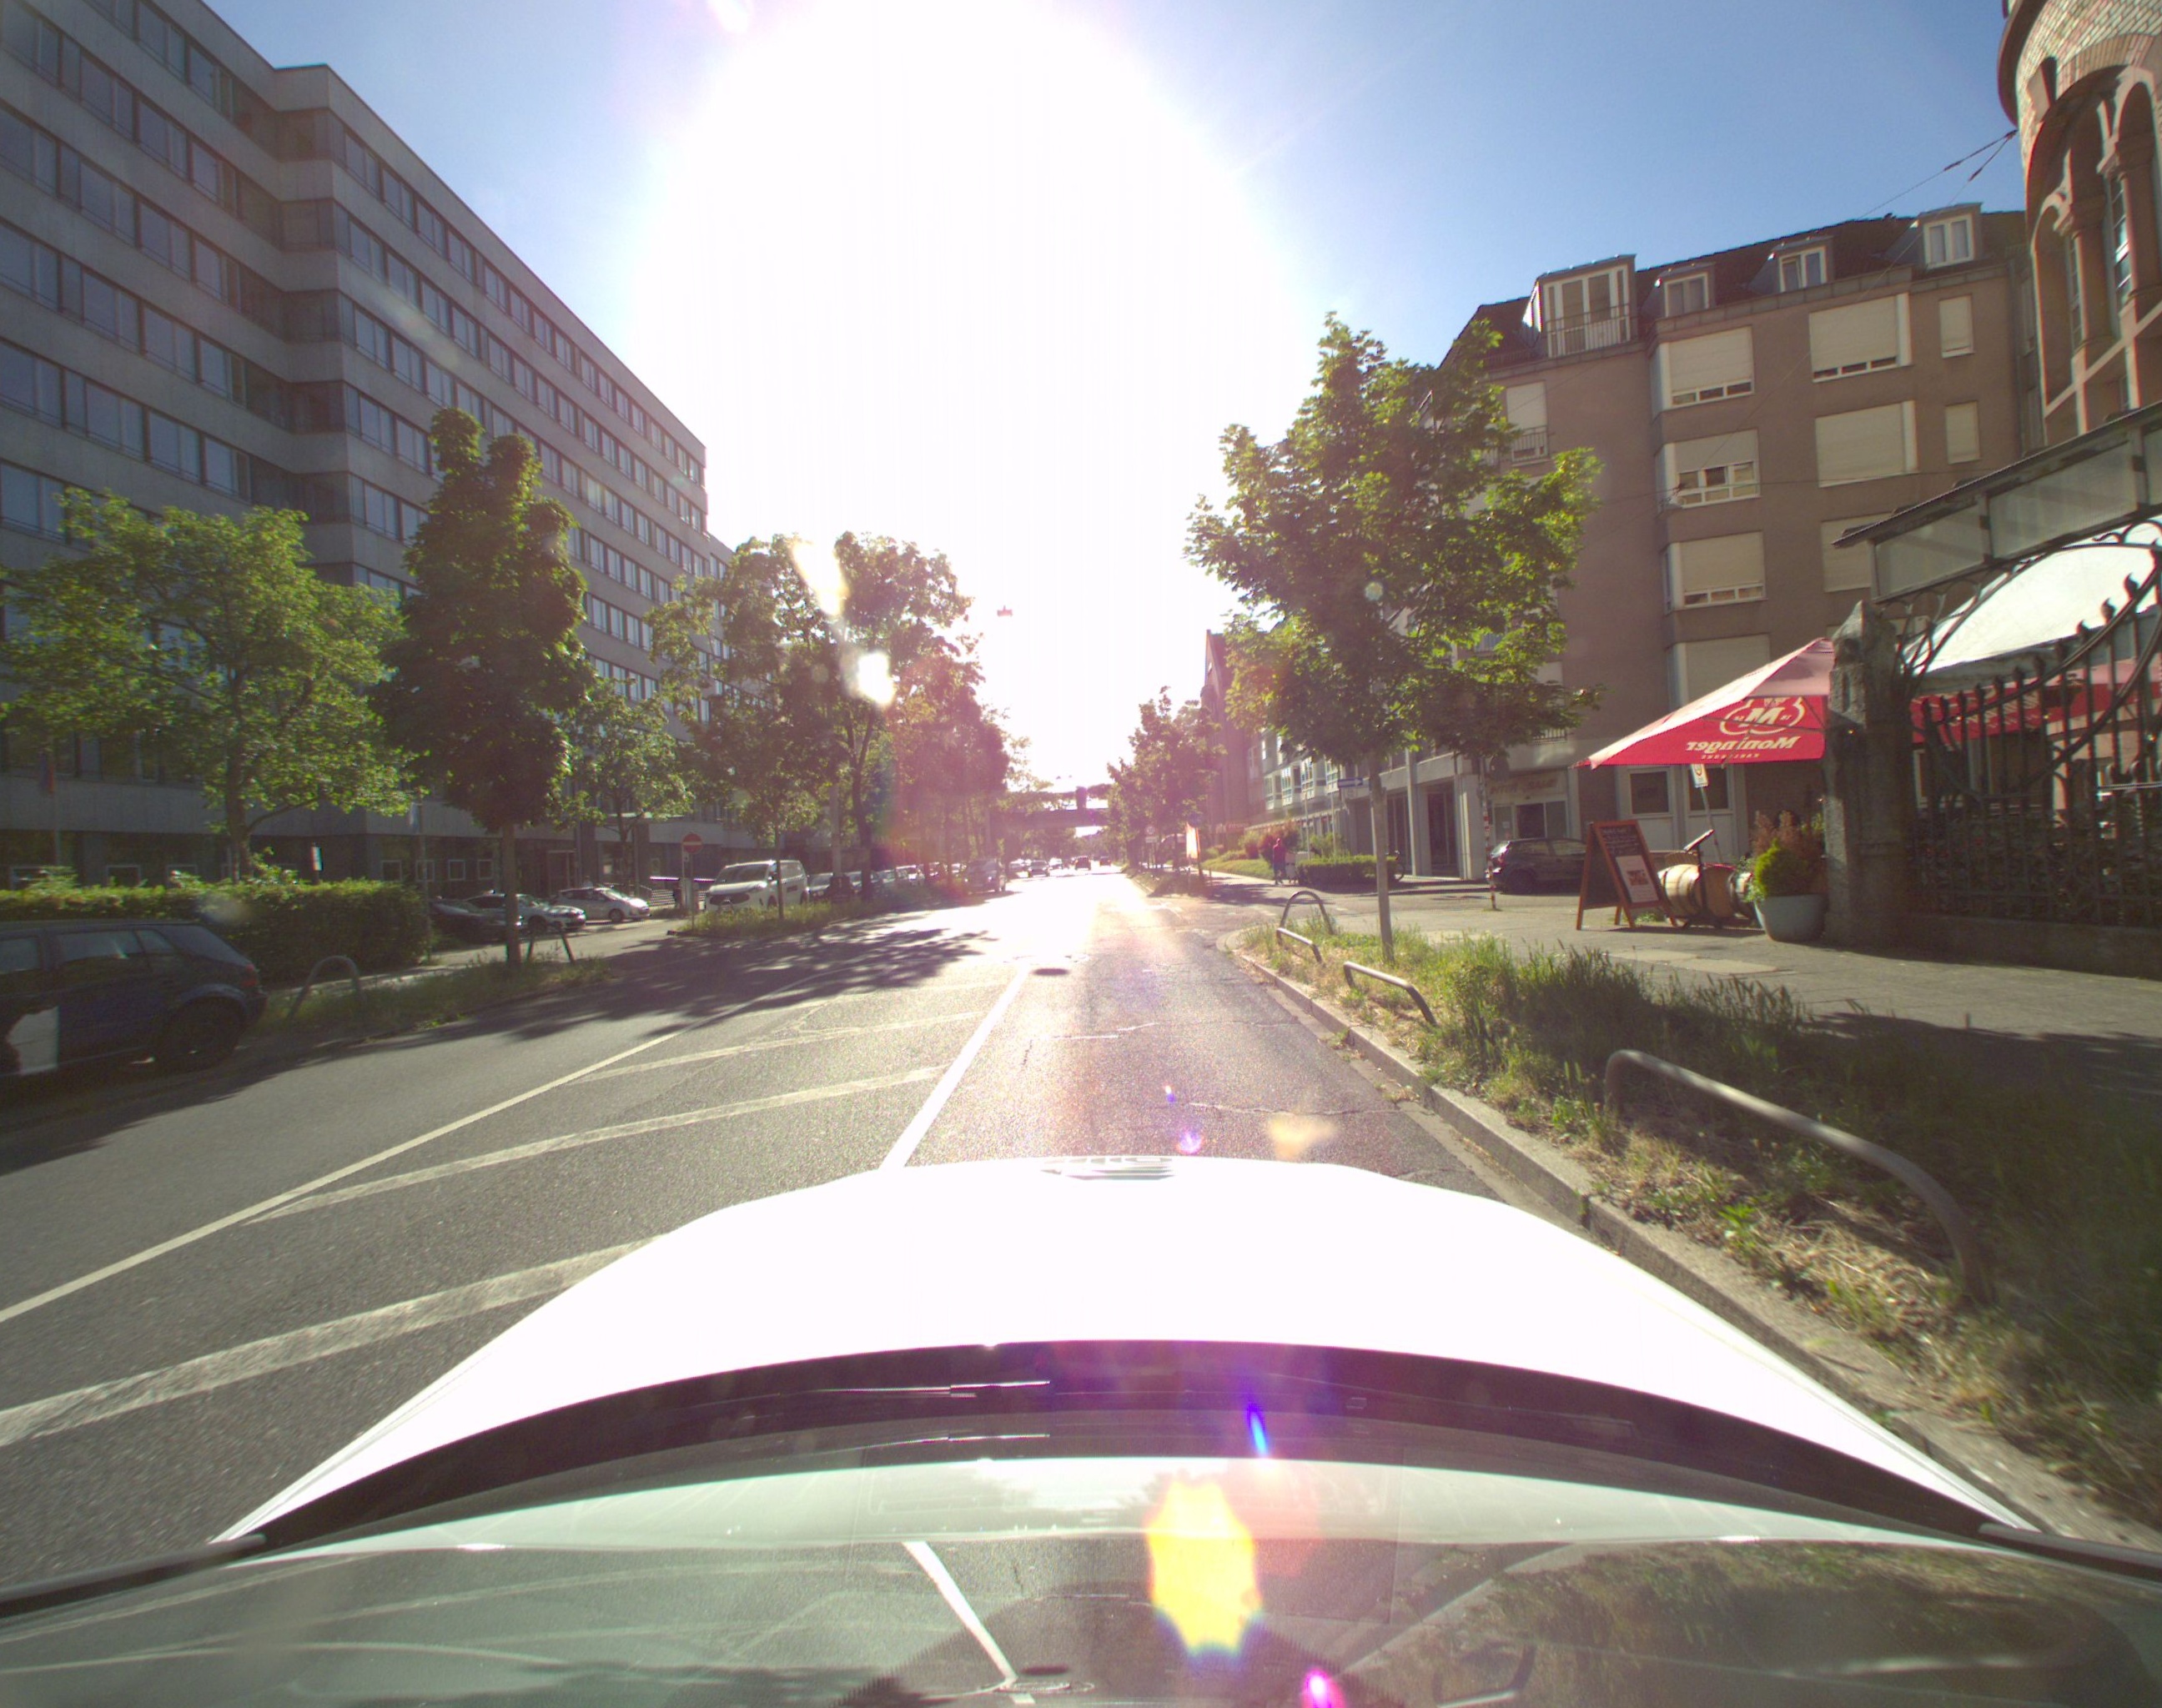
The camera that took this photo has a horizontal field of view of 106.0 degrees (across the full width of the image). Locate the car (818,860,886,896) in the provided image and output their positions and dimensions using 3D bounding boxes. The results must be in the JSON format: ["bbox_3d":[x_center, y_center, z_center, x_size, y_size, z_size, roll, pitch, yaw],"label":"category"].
[{"bbox_3d":[-10.577,1.092,37.971,1.849,1.523,4.319,-2,0,1],"label":"car"}]

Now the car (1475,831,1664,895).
[{"bbox_3d":[12.843,0.256,21.681,3.915,1.523,1.869,-2,-1,14],"label":"car"}]

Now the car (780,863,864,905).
[{"bbox_3d":[-10.419,1.152,33.070,1.774,1.523,4.322,-2,0,3],"label":"car"}]

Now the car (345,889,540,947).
[{"bbox_3d":[-19.975,1.987,25.591,4.647,1.513,2.012,-2,0,5],"label":"car"}]

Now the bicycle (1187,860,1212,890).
[{"bbox_3d":[4.568,0.801,31.250,0.586,1.066,2.032,-3,0,18],"label":"bicycle"}]

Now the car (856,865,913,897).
[{"bbox_3d":[-10.450,1.423,43.651,1.848,1.523,4.066,-2,0,3],"label":"car"}]

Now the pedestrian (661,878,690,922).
[{"bbox_3d":[-19.250,2.173,38.669,0.832,2.014,1.008,-1,-1,1],"label":"pedestrian"}]

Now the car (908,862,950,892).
[{"bbox_3d":[-10.075,1.474,54.399,1.849,1.850,4.561,-2,0,0],"label":"car"}]

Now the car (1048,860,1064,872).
[{"bbox_3d":[-3.197,1.517,105.044,1.850,1.440,4.318,-4,0,0],"label":"car"}]

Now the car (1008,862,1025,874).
[{"bbox_3d":[-8.329,1.835,105.843,1.849,1.523,4.077,-2,0,0],"label":"car"}]

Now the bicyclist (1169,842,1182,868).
[{"bbox_3d":[6.311,0.070,54.293,0.666,1.695,0.888,-2,-1,-2],"label":"bicyclist"}]

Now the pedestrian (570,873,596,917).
[{"bbox_3d":[-24.056,1.982,39.335,0.768,2.093,0.792,-1,-1,3],"label":"pedestrian"}]

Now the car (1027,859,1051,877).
[{"bbox_3d":[-3.876,1.272,75.363,1.849,1.568,4.715,-4,0,1],"label":"car"}]

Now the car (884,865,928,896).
[{"bbox_3d":[-10.381,1.553,48.658,1.852,1.684,4.658,-2,0,-4],"label":"car"}]

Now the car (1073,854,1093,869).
[{"bbox_3d":[0.194,0.868,91.405,1.981,1.600,4.134,-2,0,-4],"label":"car"}]

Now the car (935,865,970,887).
[{"bbox_3d":[-9.813,1.671,62.471,1.849,1.568,3.873,-2,0,2],"label":"car"}]

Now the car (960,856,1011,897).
[{"bbox_3d":[-4.753,1.072,41.171,1.850,1.825,4.609,-4,0,0],"label":"car"}]

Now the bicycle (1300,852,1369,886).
[{"bbox_3d":[9.050,0.520,29.121,2.187,1.027,0.688,-4,1,2],"label":"bicycle"}]

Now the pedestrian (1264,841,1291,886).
[{"bbox_3d":[7.252,0.349,30.055,0.652,1.604,0.602,-6,-1,-5],"label":"pedestrian"}]

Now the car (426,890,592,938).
[{"bbox_3d":[-20.120,2.104,28.753,4.589,1.442,1.941,-2,0,6],"label":"car"}]

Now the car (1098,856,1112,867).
[{"bbox_3d":[3.553,1.064,120.430,1.848,1.523,4.321,-2,0,3],"label":"car"}]

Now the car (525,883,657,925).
[{"bbox_3d":[-20.445,2.085,34.115,4.293,1.523,1.860,-2,-1,-2],"label":"car"}]

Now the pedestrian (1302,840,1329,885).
[{"bbox_3d":[8.768,0.334,30.489,0.652,1.604,0.602,-6,-1,-5],"label":"pedestrian"}]

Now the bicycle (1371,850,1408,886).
[{"bbox_3d":[10.194,0.453,26.956,0.681,1.027,2.209,-4,2,10],"label":"bicycle"}]

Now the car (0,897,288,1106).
[{"bbox_3d":[-8.931,1.179,6.169,1.705,1.459,4.075,-2,0,3],"label":"car"}]

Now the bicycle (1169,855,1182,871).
[{"bbox_3d":[6.292,0.620,54.317,0.587,1.027,1.860,-3,-1,0],"label":"bicycle"}]

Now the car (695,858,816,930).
[{"bbox_3d":[-10.877,1.255,27.706,1.975,2.076,5.193,-5,0,-1],"label":"car"}]
